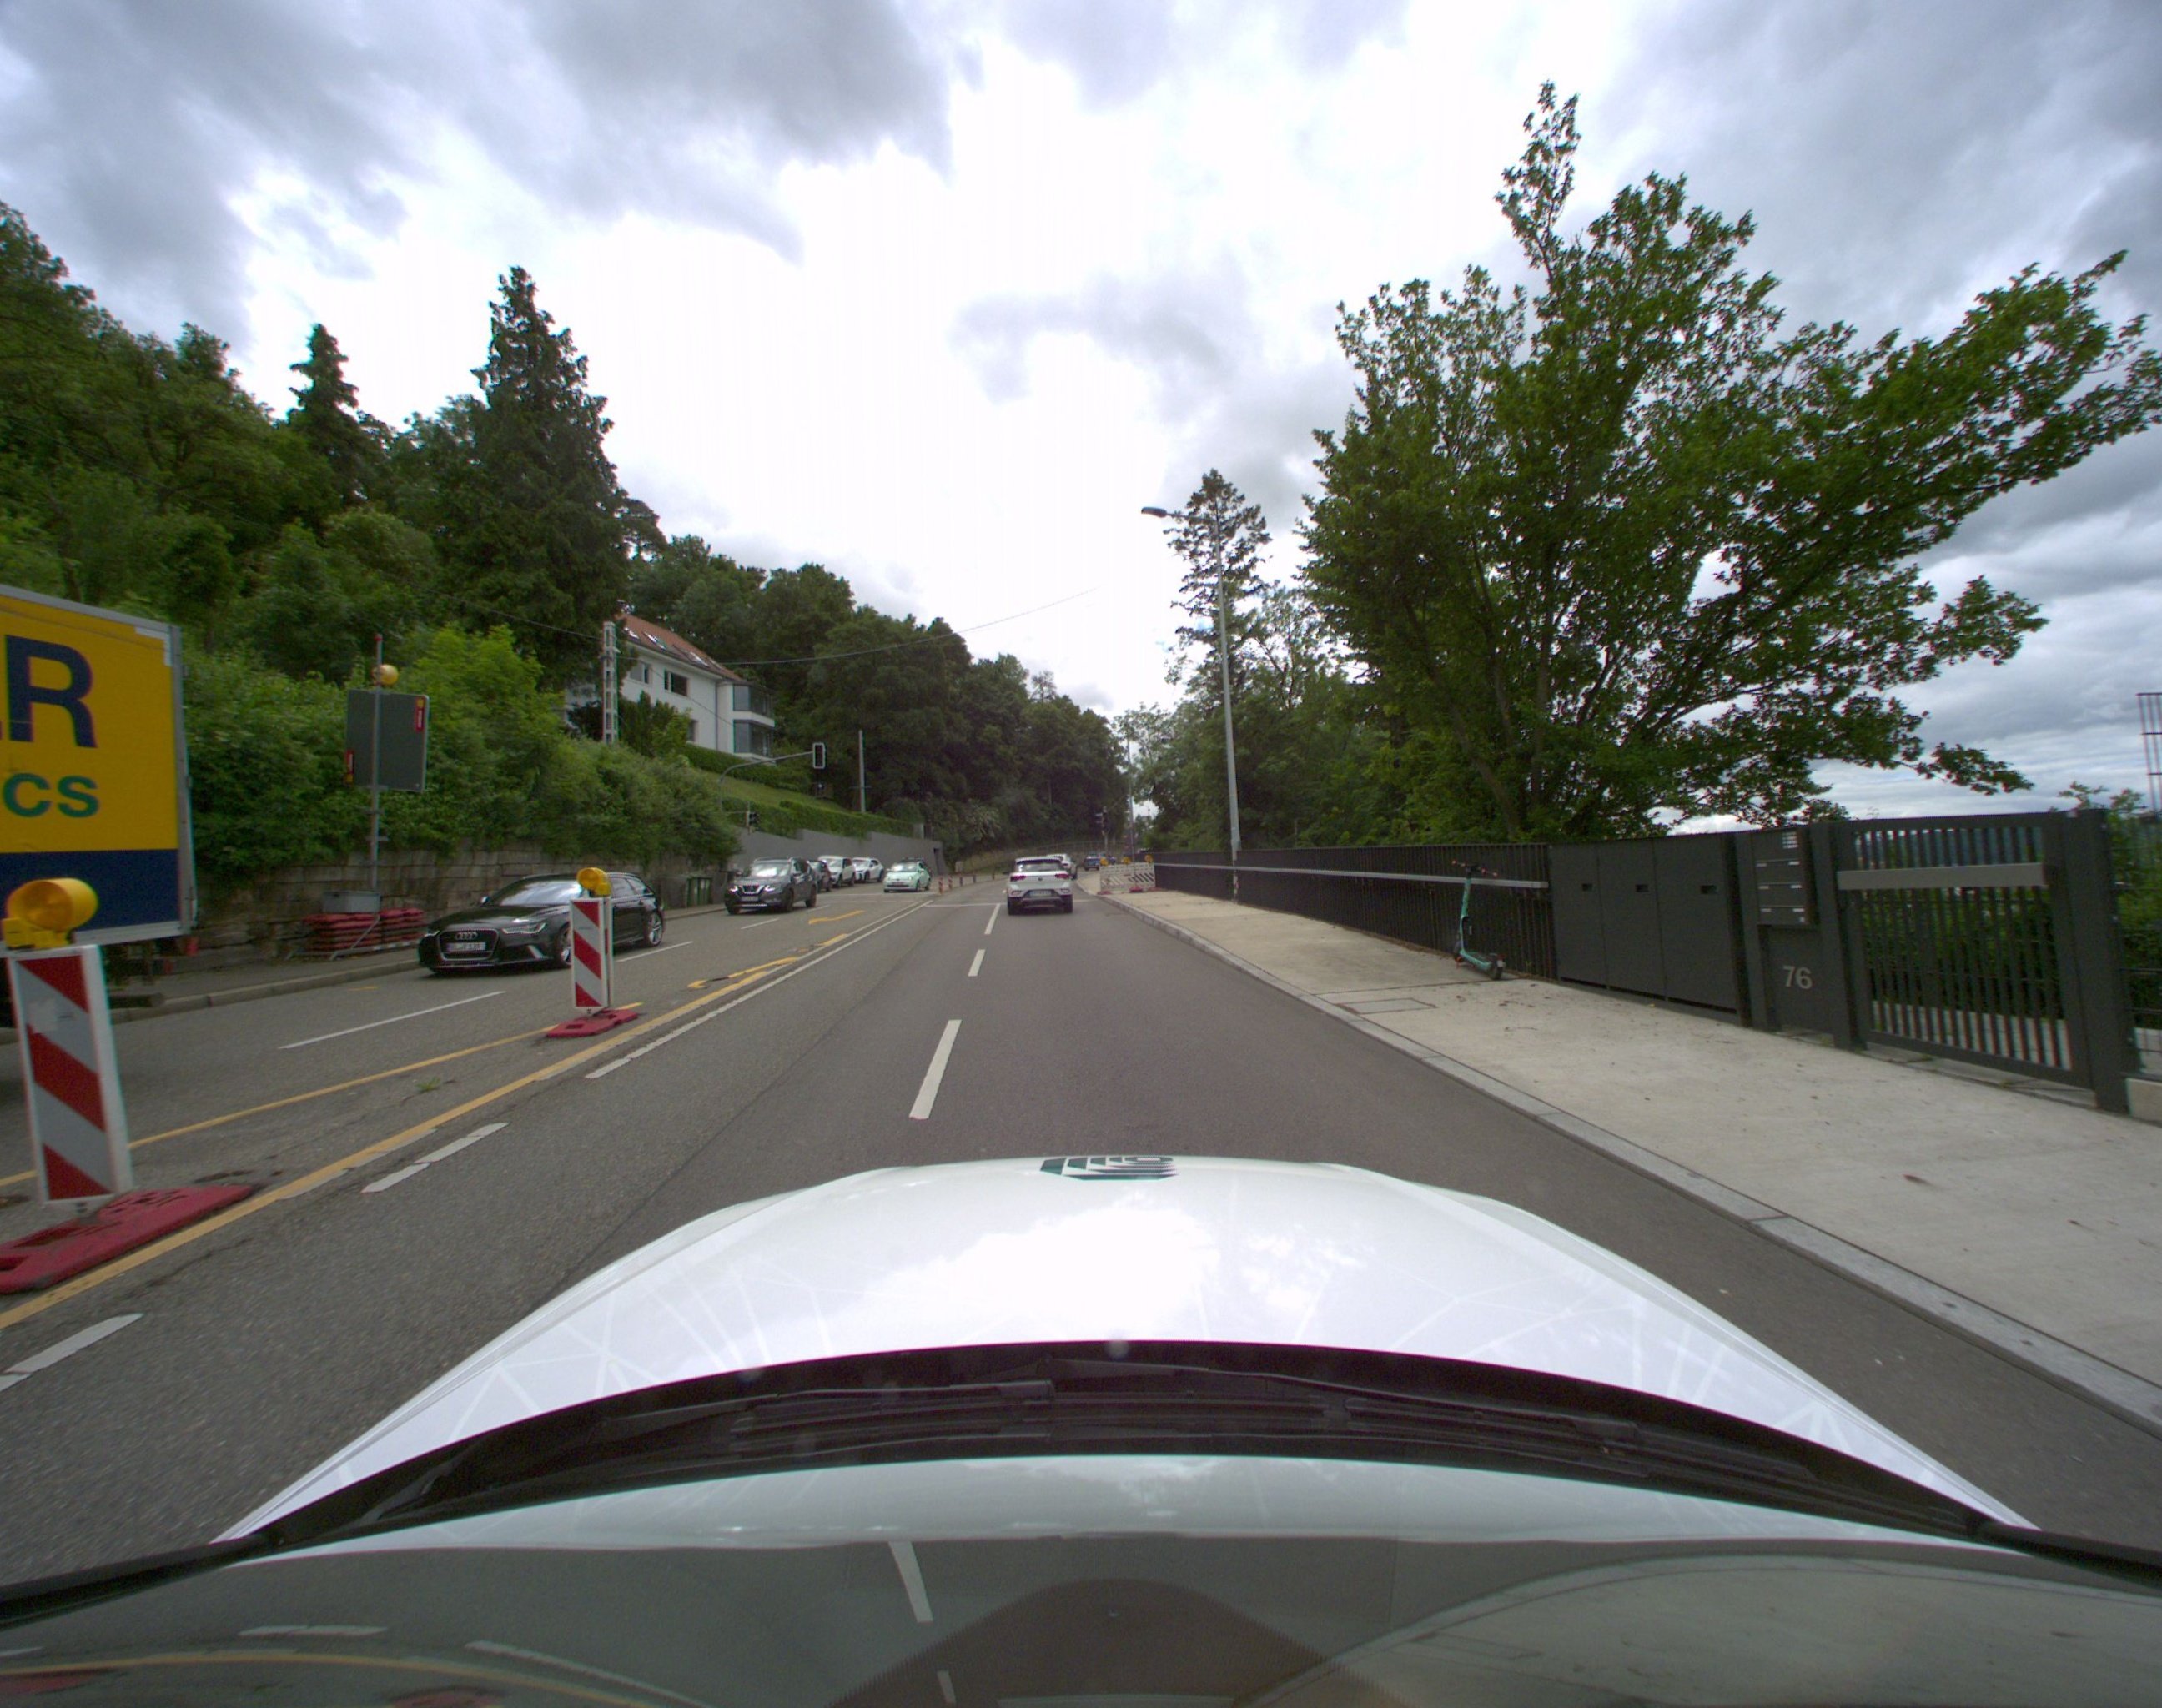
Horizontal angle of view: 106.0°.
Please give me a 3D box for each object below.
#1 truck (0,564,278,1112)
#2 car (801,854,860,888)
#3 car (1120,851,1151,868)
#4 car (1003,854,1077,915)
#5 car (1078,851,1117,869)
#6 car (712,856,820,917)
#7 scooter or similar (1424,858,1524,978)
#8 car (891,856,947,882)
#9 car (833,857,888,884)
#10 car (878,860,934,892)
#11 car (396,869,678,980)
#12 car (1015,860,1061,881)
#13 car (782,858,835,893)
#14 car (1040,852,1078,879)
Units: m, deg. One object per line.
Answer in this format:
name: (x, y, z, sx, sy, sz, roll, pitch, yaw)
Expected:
truck: (-8.153, -0.090, 3.347, 2.726, 3.510, 7.339, -2, 0, -4)
car: (-13.588, 0.898, 44.435, 1.854, 1.731, 4.757, 1, 0, -2)
car: (5.582, 0.600, 82.962, 1.799, 1.689, 4.023, -1, -1, 26)
car: (-1.243, 0.785, 23.196, 1.865, 1.536, 3.795, -1, 0, -6)
car: (1.515, 0.562, 72.622, 1.975, 1.541, 4.033, -1, -1, 26)
car: (-9.808, 0.936, 25.772, 1.880, 1.697, 4.663, -1, 0, -5)
scooter or similar: (4.444, 0.682, 9.293, 0.532, 1.226, 1.207, -3, 1, 2)
car: (-10.421, 0.970, 52.705, 1.698, 1.598, 4.225, -1, -1, 17)
car: (-13.524, 0.975, 50.176, 1.824, 1.572, 4.481, 0, -1, 5)
car: (-8.423, 1.033, 39.505, 1.703, 1.466, 3.664, 0, 0, 4)
car: (-8.842, 1.037, 13.885, 1.807, 1.430, 4.866, -1, 0, -5)
car: (-3.272, 1.218, 62.891, 1.889, 1.574, 4.022, -1, -1, 24)
car: (-13.236, 1.008, 39.755, 1.708, 1.573, 2.954, 2, 1, -4)
car: (-1.338, 0.707, 50.793, 1.985, 1.586, 4.004, 0, -1, 3)
